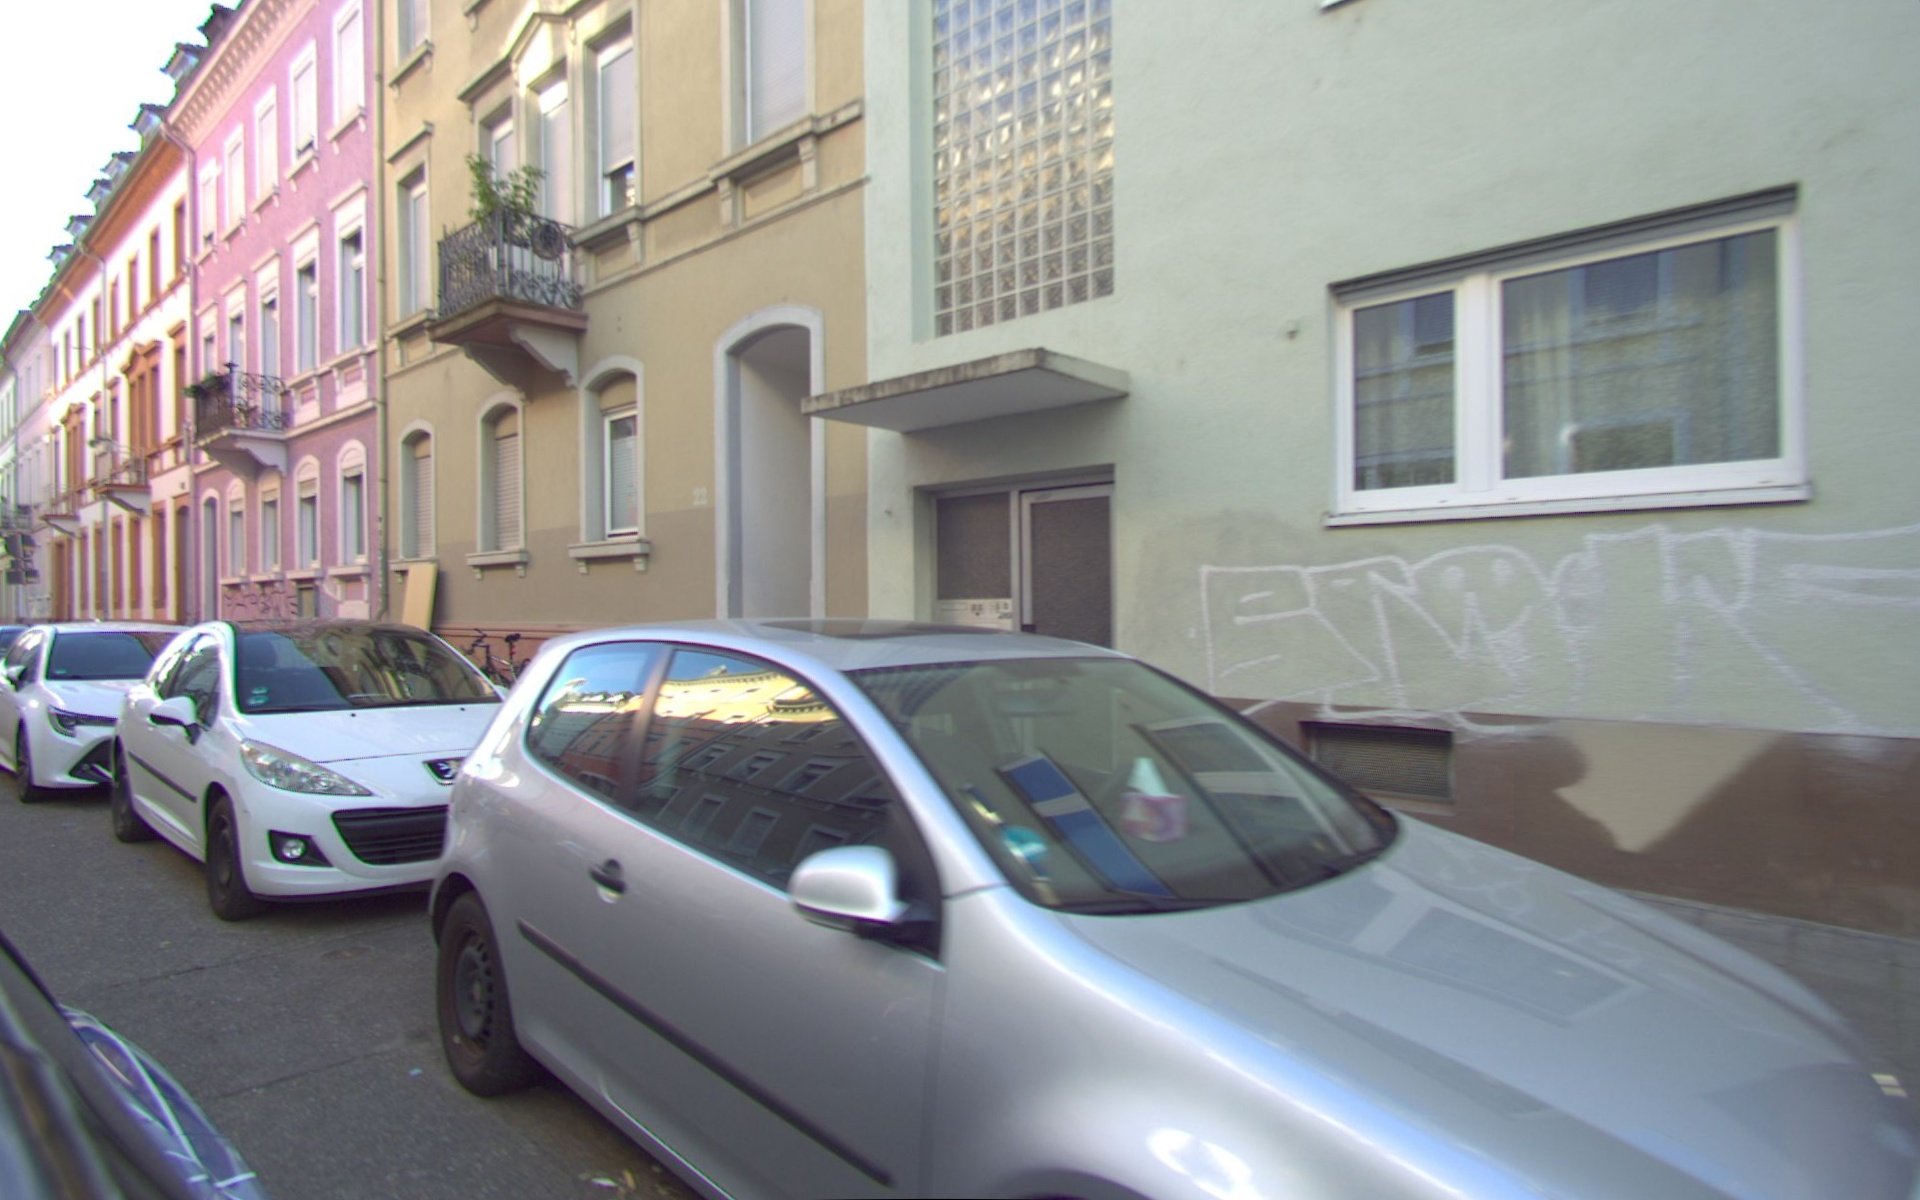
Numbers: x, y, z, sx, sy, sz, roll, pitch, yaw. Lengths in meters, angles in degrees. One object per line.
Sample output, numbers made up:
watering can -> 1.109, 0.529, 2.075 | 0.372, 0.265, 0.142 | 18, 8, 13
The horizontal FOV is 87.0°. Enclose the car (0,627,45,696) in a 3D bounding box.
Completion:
car -> -20.639, 1.232, 21.103 | 4.377, 1.353, 1.748 | -1, -2, 41

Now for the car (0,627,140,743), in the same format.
car -> -12.940, 1.083, 14.154 | 4.303, 1.401, 1.707 | -1, -2, 43

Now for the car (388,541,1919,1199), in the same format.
car -> 0.045, 0.736, 2.662 | 4.035, 1.466, 1.661 | -1, -2, 45

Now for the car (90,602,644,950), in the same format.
car -> -3.835, 0.779, 6.250 | 3.998, 1.463, 1.771 | -1, -1, 41

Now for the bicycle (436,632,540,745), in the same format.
bicycle -> -5.054, 0.906, 10.798 | 1.494, 1.110, 0.413 | -1, 0, 41

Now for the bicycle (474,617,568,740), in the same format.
bicycle -> -4.848, 0.825, 11.127 | 1.494, 1.269, 0.315 | -1, 0, 41

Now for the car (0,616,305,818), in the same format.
car -> -7.838, 0.902, 9.431 | 4.197, 1.473, 1.769 | -1, -2, 40

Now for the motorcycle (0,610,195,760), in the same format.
motorcycle -> -9.987, 0.897, 11.451 | 0.818, 1.490, 1.954 | -2, 1, 21
